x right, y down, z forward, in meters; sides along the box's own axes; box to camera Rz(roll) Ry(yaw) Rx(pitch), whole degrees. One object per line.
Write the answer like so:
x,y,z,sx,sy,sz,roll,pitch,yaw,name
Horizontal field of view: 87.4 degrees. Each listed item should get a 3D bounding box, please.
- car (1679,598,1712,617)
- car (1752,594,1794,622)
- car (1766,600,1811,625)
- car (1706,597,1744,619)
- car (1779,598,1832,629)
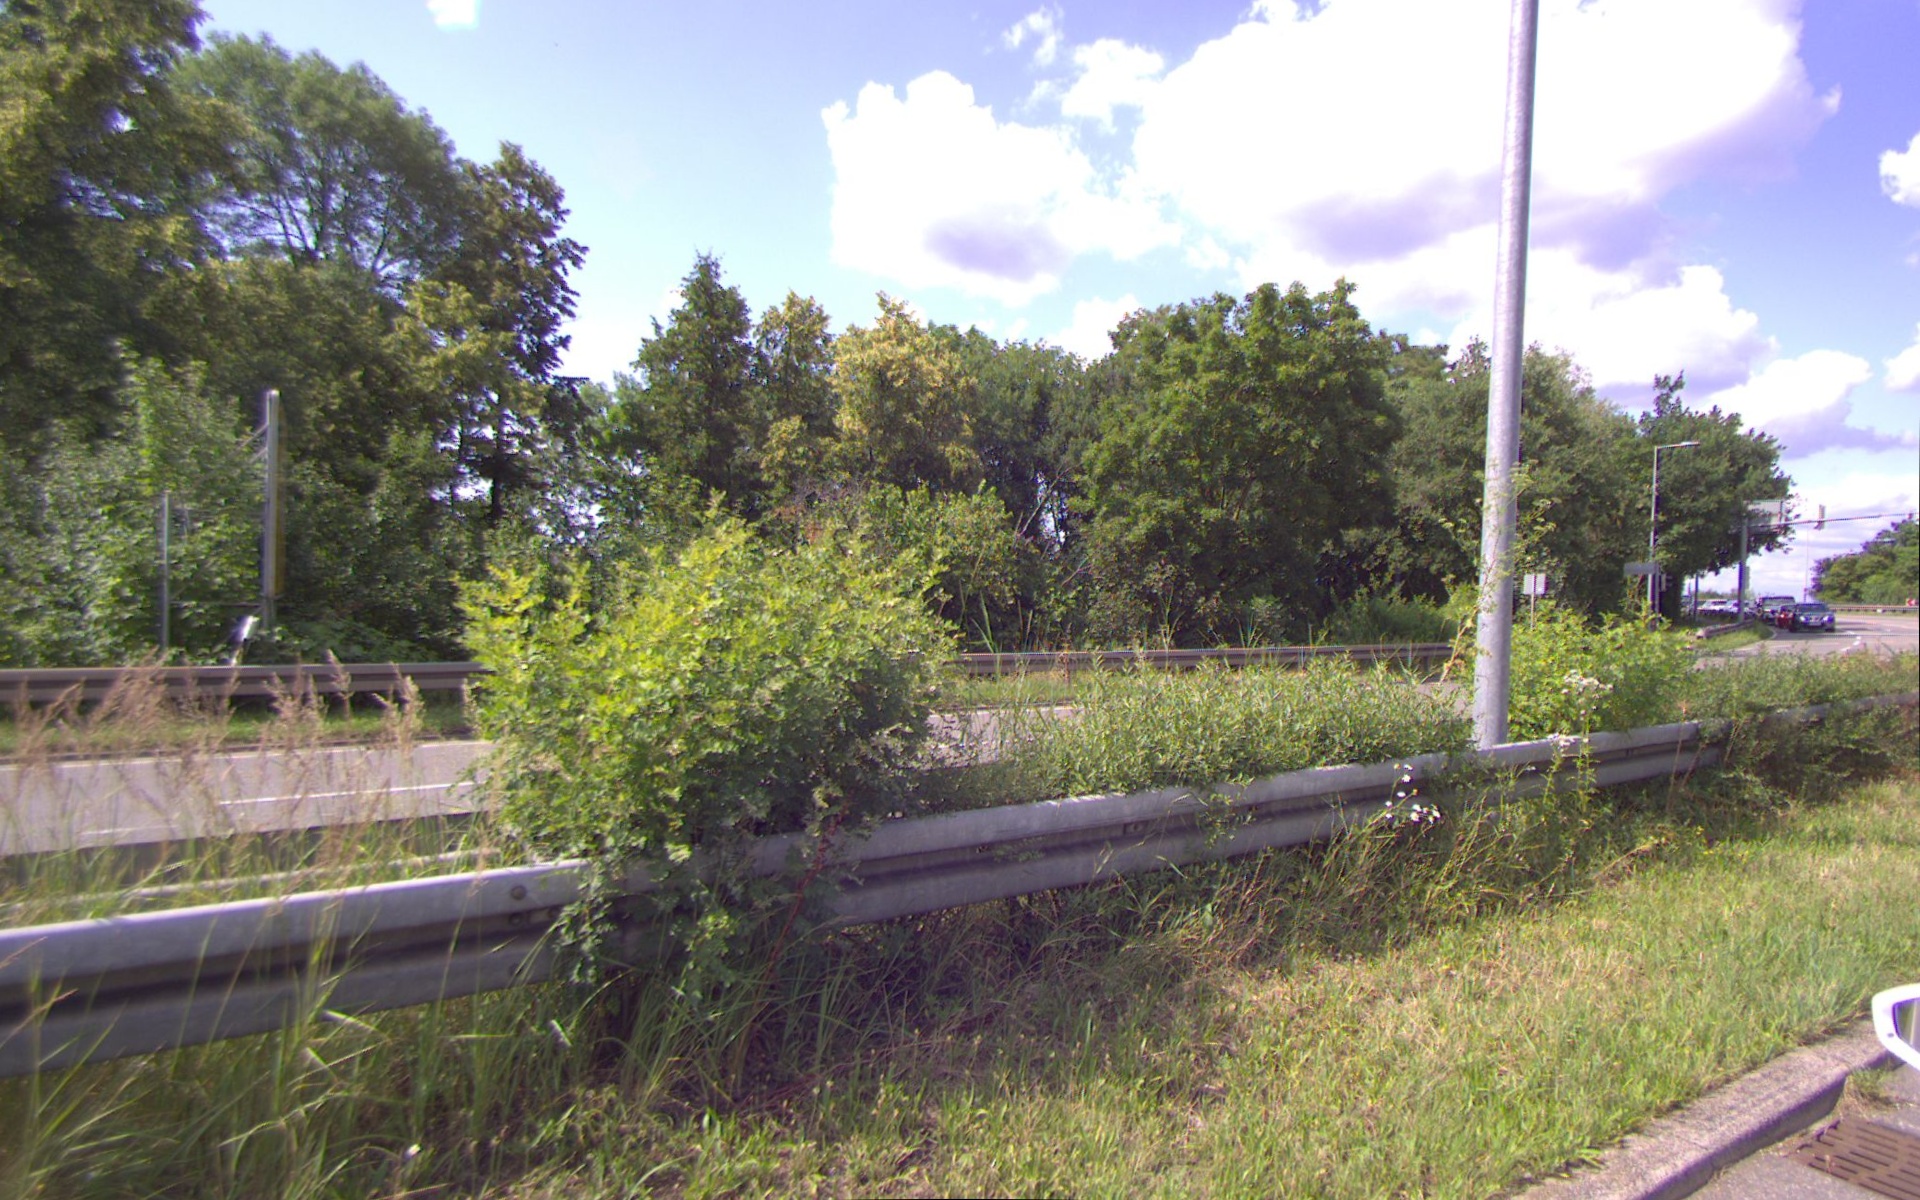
68.269,0.676,93.306,1.815,1.728,4.321,0,0,27,car
54.411,0.512,67.282,1.818,1.826,4.313,1,0,34,car
50.778,0.741,61.622,1.708,1.496,4.034,1,0,34,car
61.829,0.628,81.209,1.816,1.728,4.319,0,0,29,car
46.178,0.764,54.899,1.814,1.639,3.988,0,-1,34,car
